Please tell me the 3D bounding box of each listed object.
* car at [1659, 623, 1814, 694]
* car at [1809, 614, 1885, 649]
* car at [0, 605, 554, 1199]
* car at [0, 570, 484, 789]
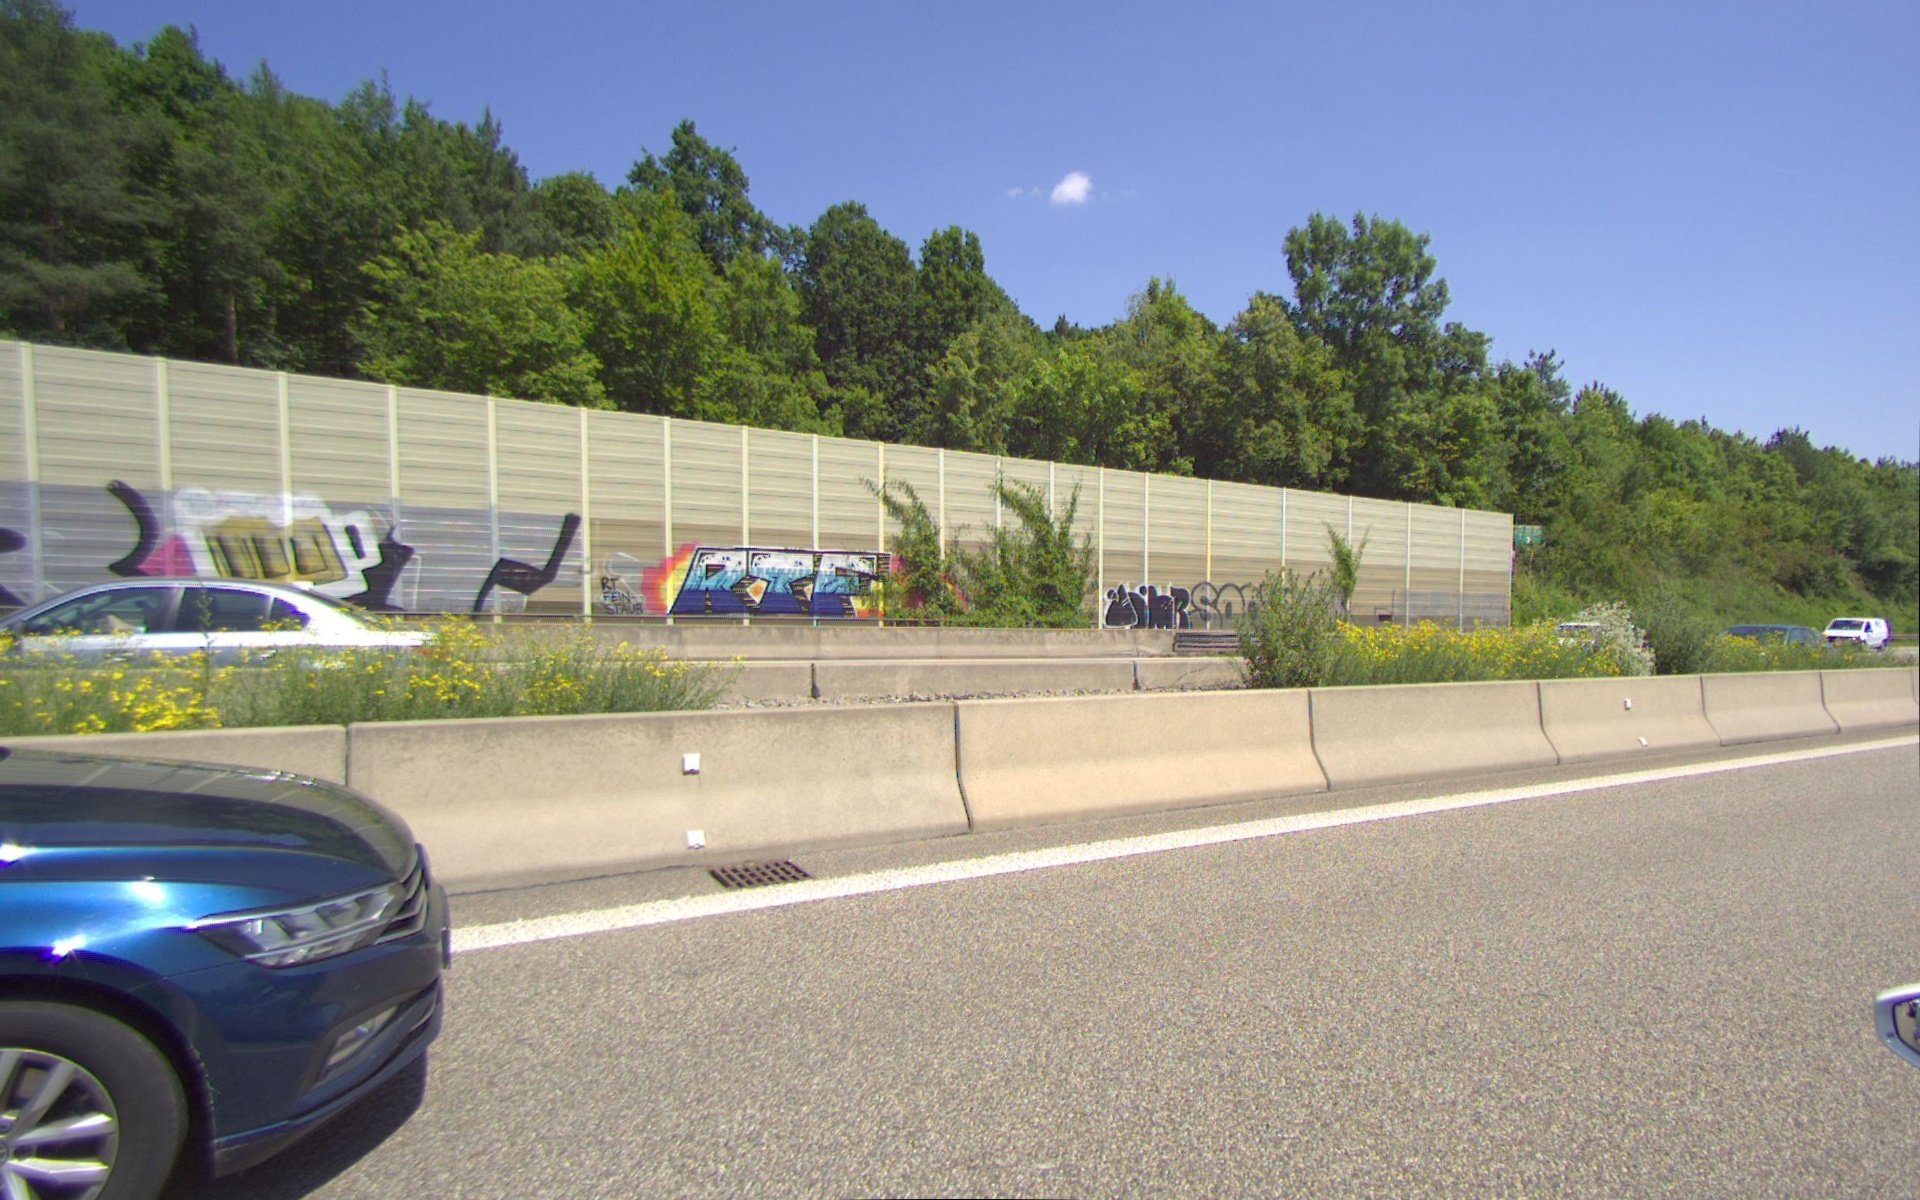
[{"bbox_3d":[17.939,1.310,23.185,3.711,1.487,1.608,1,0,-31],"label":"car"},{"bbox_3d":[50.766,1.798,57.470,5.246,1.892,1.910,2,-1,-33],"label":"car"},{"bbox_3d":[-3.460,0.726,2.068,4.674,1.447,1.724,1,0,-30],"label":"car"},{"bbox_3d":[-6.677,0.594,8.509,4.658,1.598,1.739,1,0,-30],"label":"car"}]
